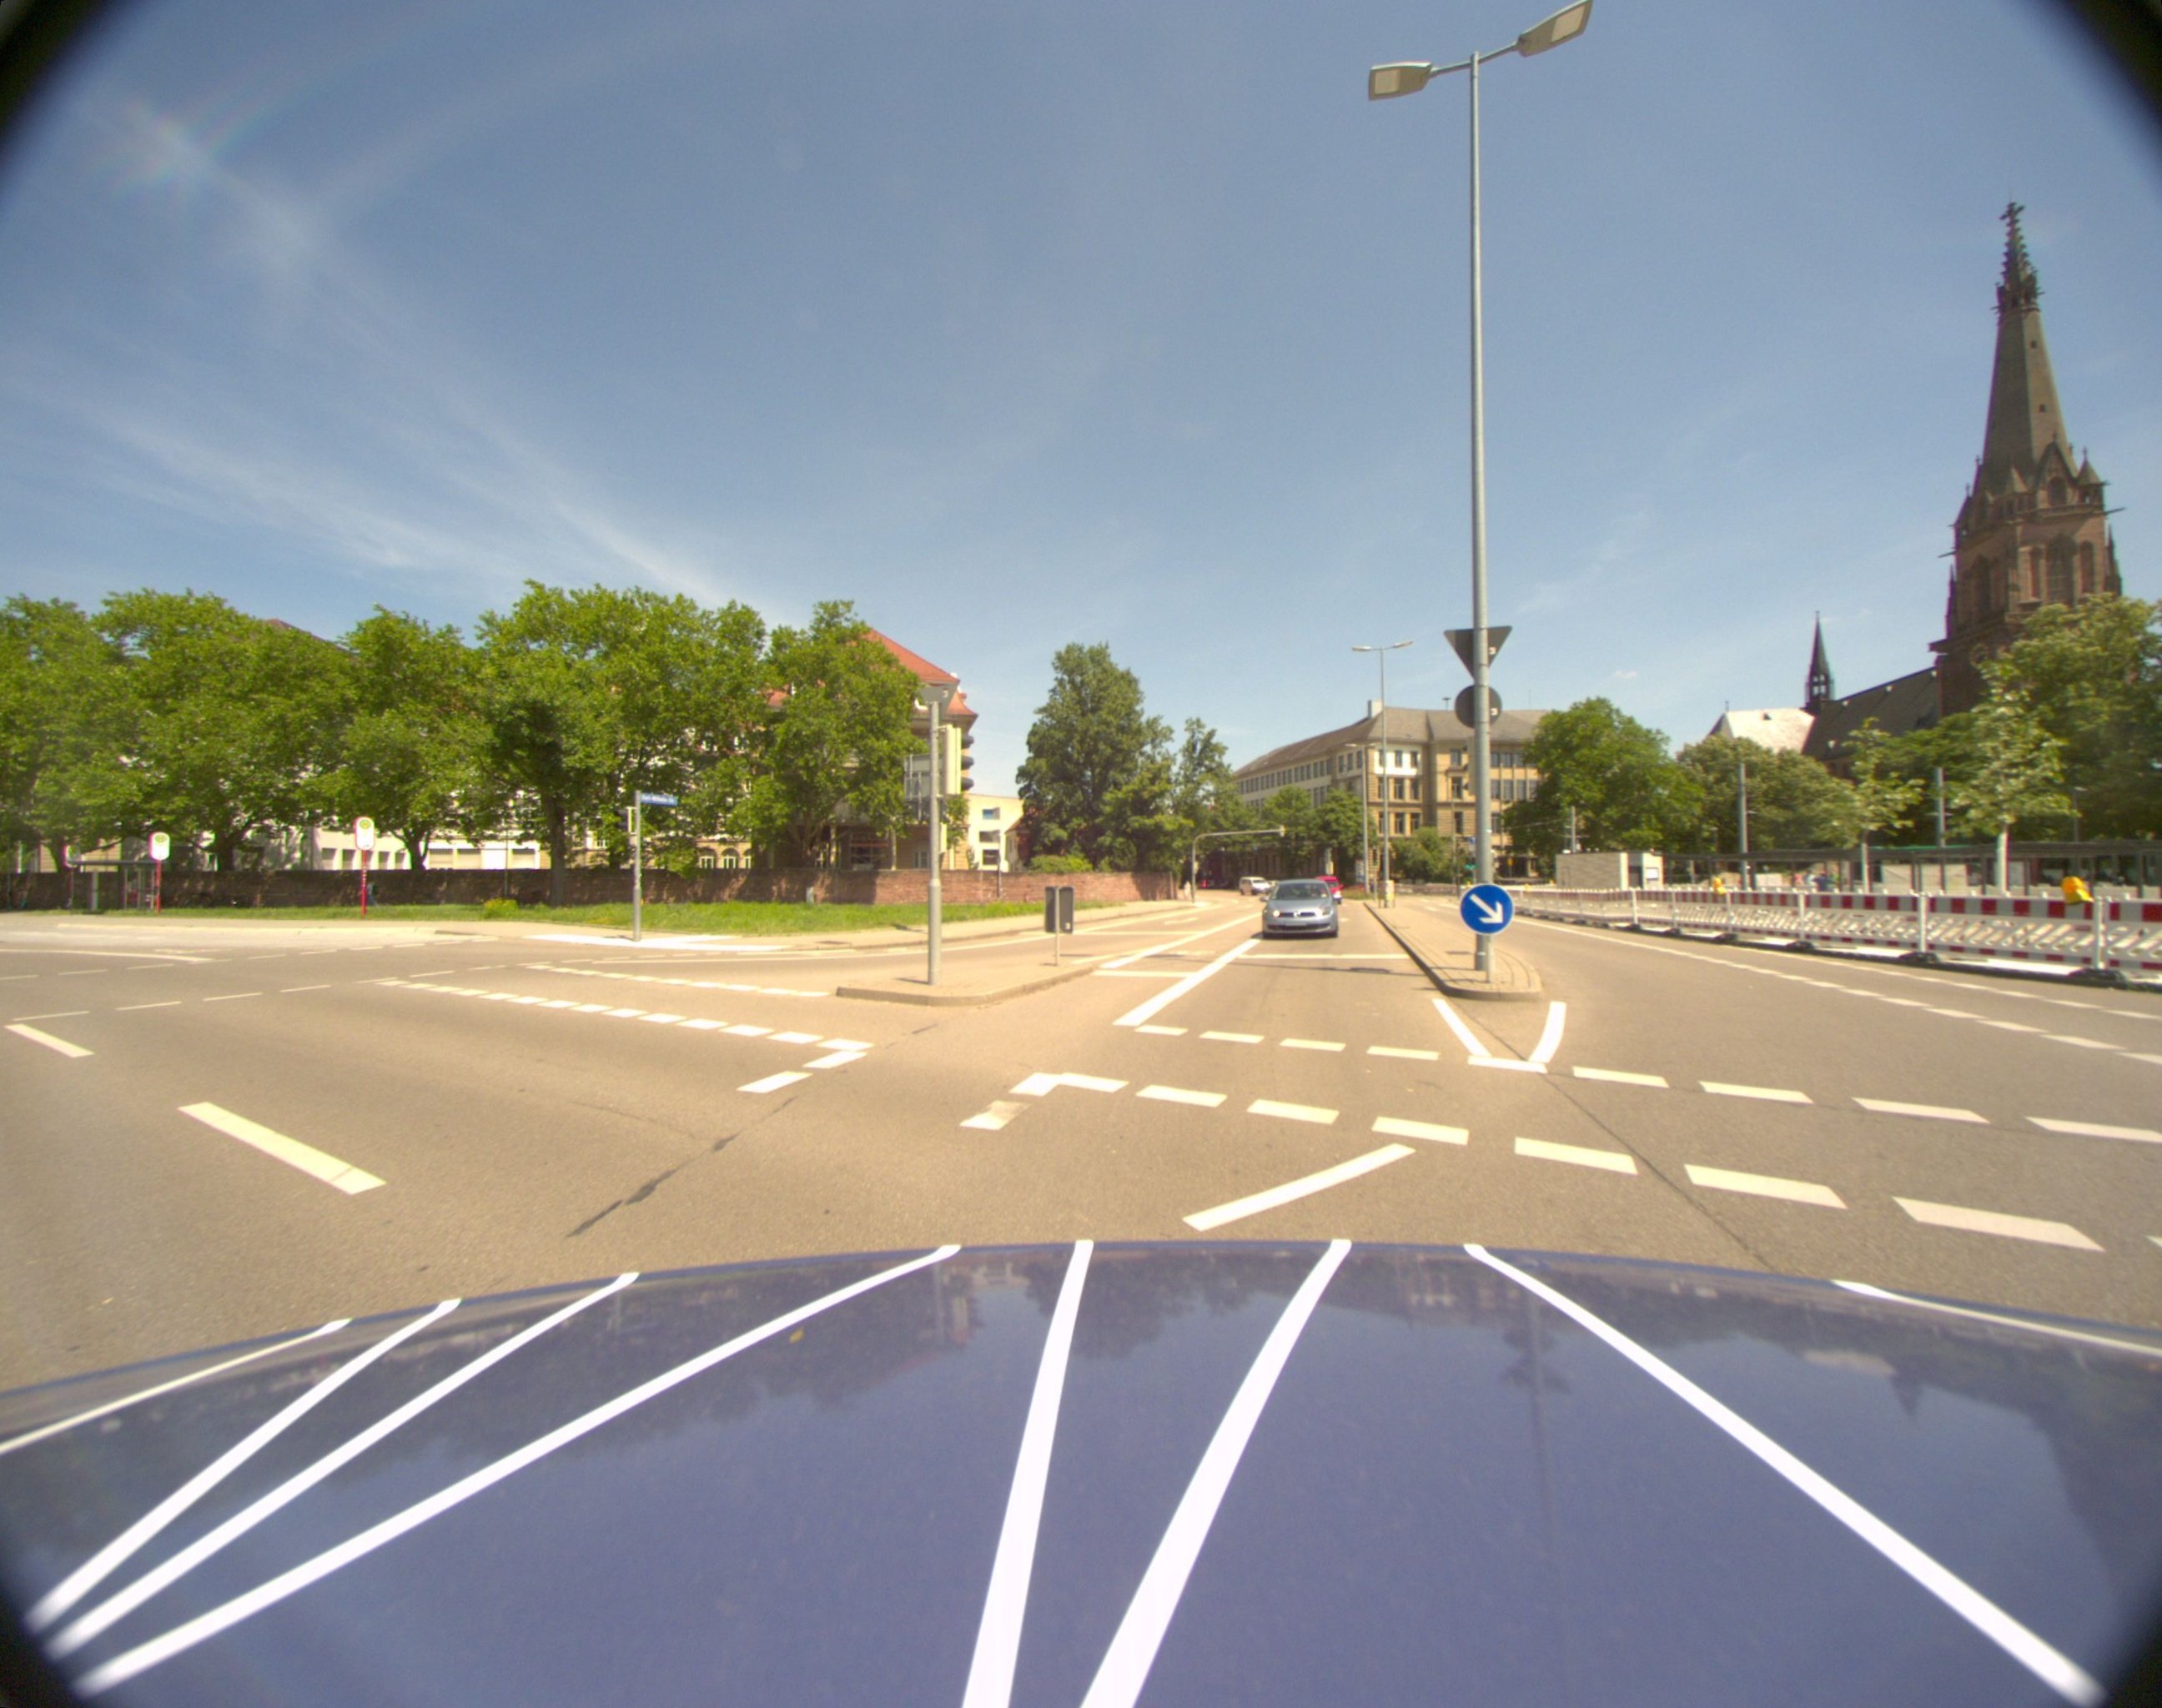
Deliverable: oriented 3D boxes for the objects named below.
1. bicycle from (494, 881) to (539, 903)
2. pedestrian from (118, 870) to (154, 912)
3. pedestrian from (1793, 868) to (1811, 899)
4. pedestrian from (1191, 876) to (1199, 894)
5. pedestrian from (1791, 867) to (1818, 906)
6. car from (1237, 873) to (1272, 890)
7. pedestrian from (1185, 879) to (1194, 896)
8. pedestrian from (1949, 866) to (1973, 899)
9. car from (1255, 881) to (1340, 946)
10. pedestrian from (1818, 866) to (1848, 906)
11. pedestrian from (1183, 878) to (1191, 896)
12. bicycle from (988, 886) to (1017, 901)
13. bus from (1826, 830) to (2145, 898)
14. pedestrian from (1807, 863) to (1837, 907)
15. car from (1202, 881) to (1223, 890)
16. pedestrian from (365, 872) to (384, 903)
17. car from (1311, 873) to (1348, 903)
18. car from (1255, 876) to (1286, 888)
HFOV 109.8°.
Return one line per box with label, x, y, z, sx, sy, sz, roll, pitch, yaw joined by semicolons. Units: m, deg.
bicycle;-33.143;2.245;44.618;2.169;1.175;0.457;-2;-2;-9
pedestrian;-53.657;2.092;43.142;1.074;2.276;0.850;-3;-2;7
pedestrian;40.635;1.672;42.808;0.582;1.690;0.564;-1;-2;-35
pedestrian;11.239;3.079;74.993;0.605;1.702;0.558;2;-3;-14
pedestrian;33.421;1.490;35.092;0.541;1.745;0.658;-2;-2;-26
car;19.378;3.101;84.881;1.710;1.851;4.255;-2;-2;-20
pedestrian;10.488;3.264;73.360;0.605;1.601;0.558;2;-3;-13
pedestrian;43.531;1.409;37.584;0.538;1.610;0.520;-2;-2;-20
car;5.617;1.421;19.390;1.829;1.405;4.001;-1;-1;19
pedestrian;33.860;1.428;34.208;0.646;1.777;0.637;-2;-2;-17
pedestrian;9.855;3.065;70.674;0.605;1.601;0.558;2;-3;-13
bicycle;-5.282;2.630;51.014;1.777;0.922;0.678;-1;-2;-26
bus;47.095;0.692;40.409;2.857;3.034;10.594;-2;-2;-14
pedestrian;32.823;1.377;33.657;0.693;1.893;0.576;-2;-2;-17
car;22.800;5.393;131.547;3.586;1.443;1.611;0;-3;-44
pedestrian;-40.368;1.926;43.398;0.526;1.710;0.589;-2;-2;-5
car;15.915;2.152;48.611;1.830;1.755;4.287;-3;-2;22
car;23.931;3.525;95.988;1.822;1.419;4.422;1;-1;-15
